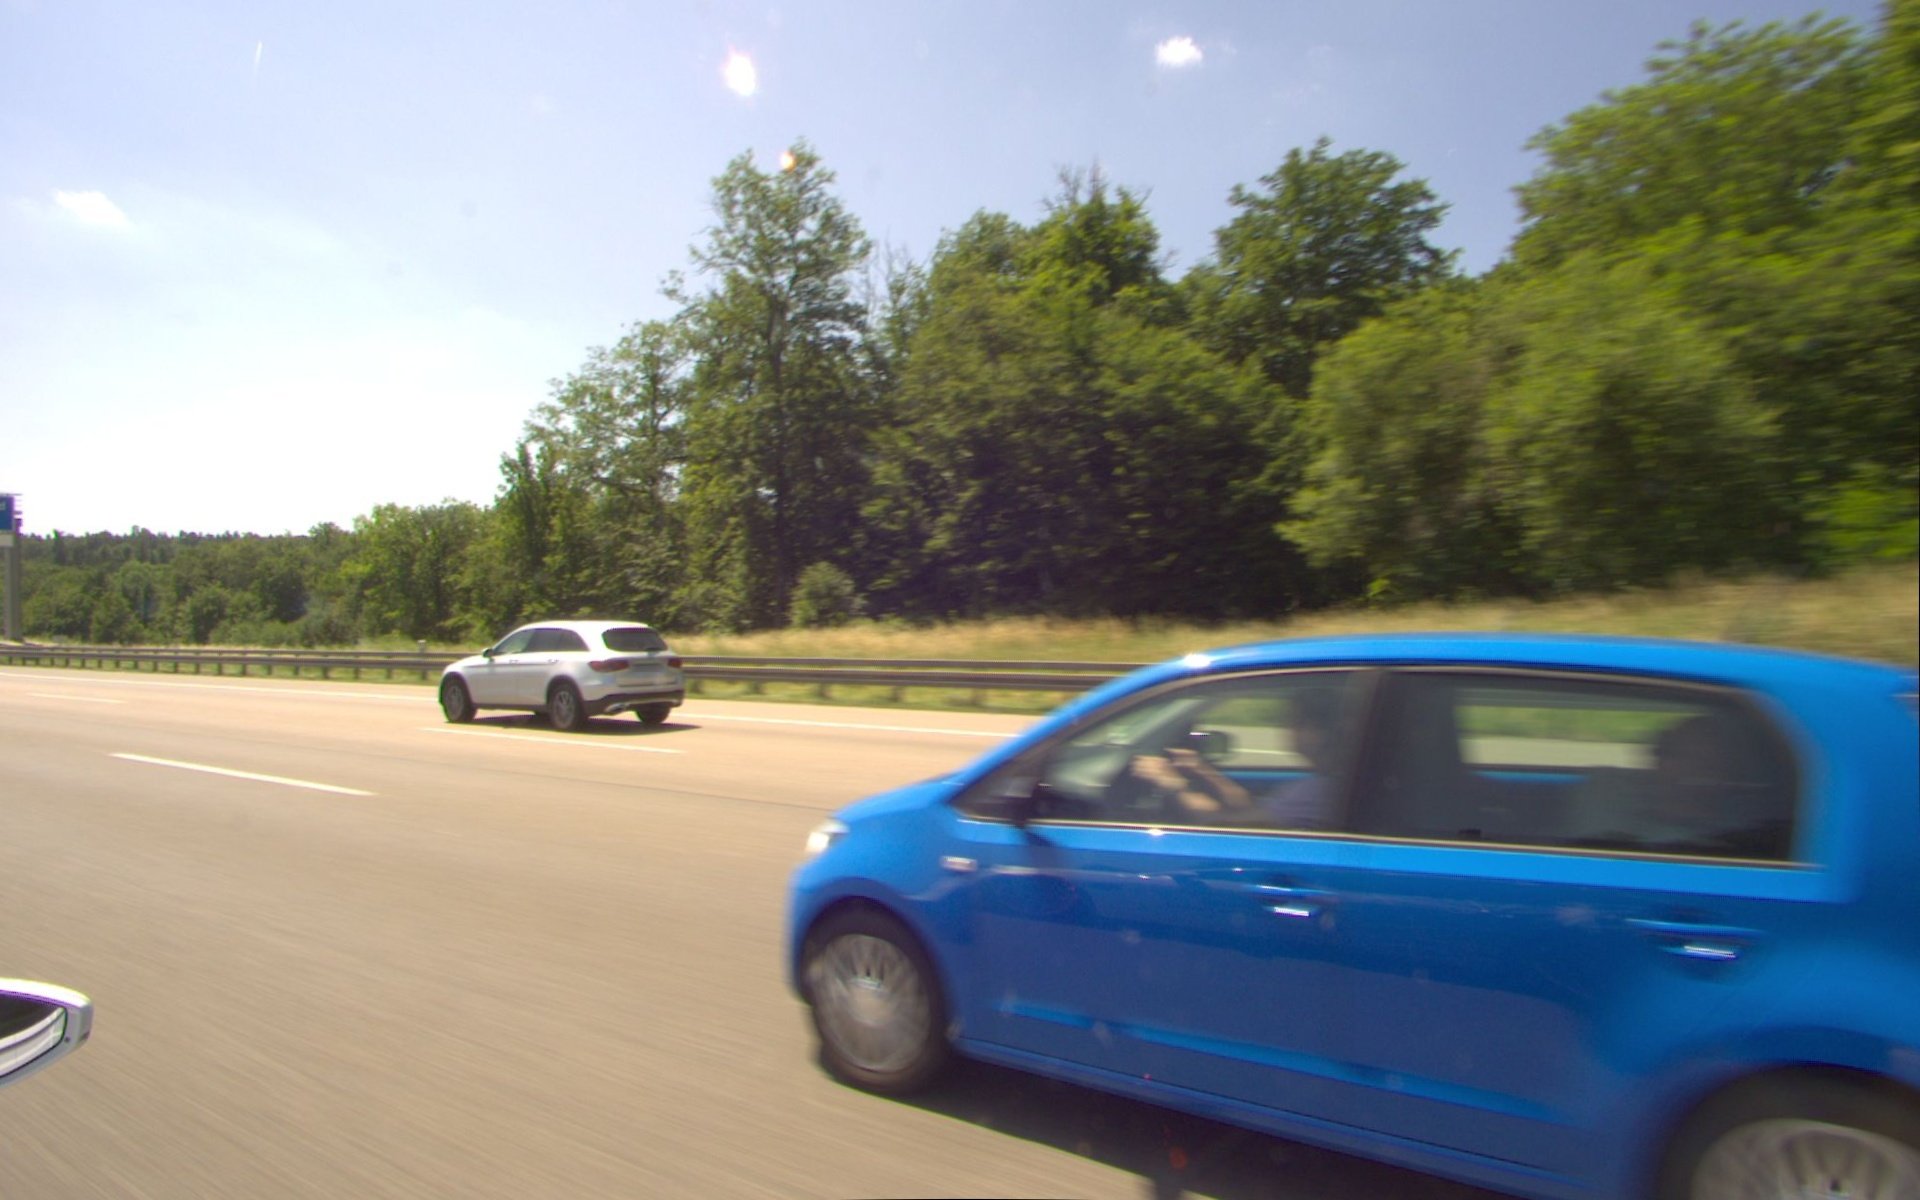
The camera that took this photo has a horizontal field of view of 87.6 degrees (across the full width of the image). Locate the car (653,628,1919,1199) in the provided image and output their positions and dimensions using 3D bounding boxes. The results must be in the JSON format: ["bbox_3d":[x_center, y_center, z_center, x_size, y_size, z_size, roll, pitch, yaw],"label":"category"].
[{"bbox_3d":[0.972,0.822,3.387,3.943,1.429,1.734,-1,-1,33],"label":"car"}]

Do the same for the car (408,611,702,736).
[{"bbox_3d":[-6.744,1.104,16.466,5.163,1.753,1.798,0,-2,32],"label":"car"}]
